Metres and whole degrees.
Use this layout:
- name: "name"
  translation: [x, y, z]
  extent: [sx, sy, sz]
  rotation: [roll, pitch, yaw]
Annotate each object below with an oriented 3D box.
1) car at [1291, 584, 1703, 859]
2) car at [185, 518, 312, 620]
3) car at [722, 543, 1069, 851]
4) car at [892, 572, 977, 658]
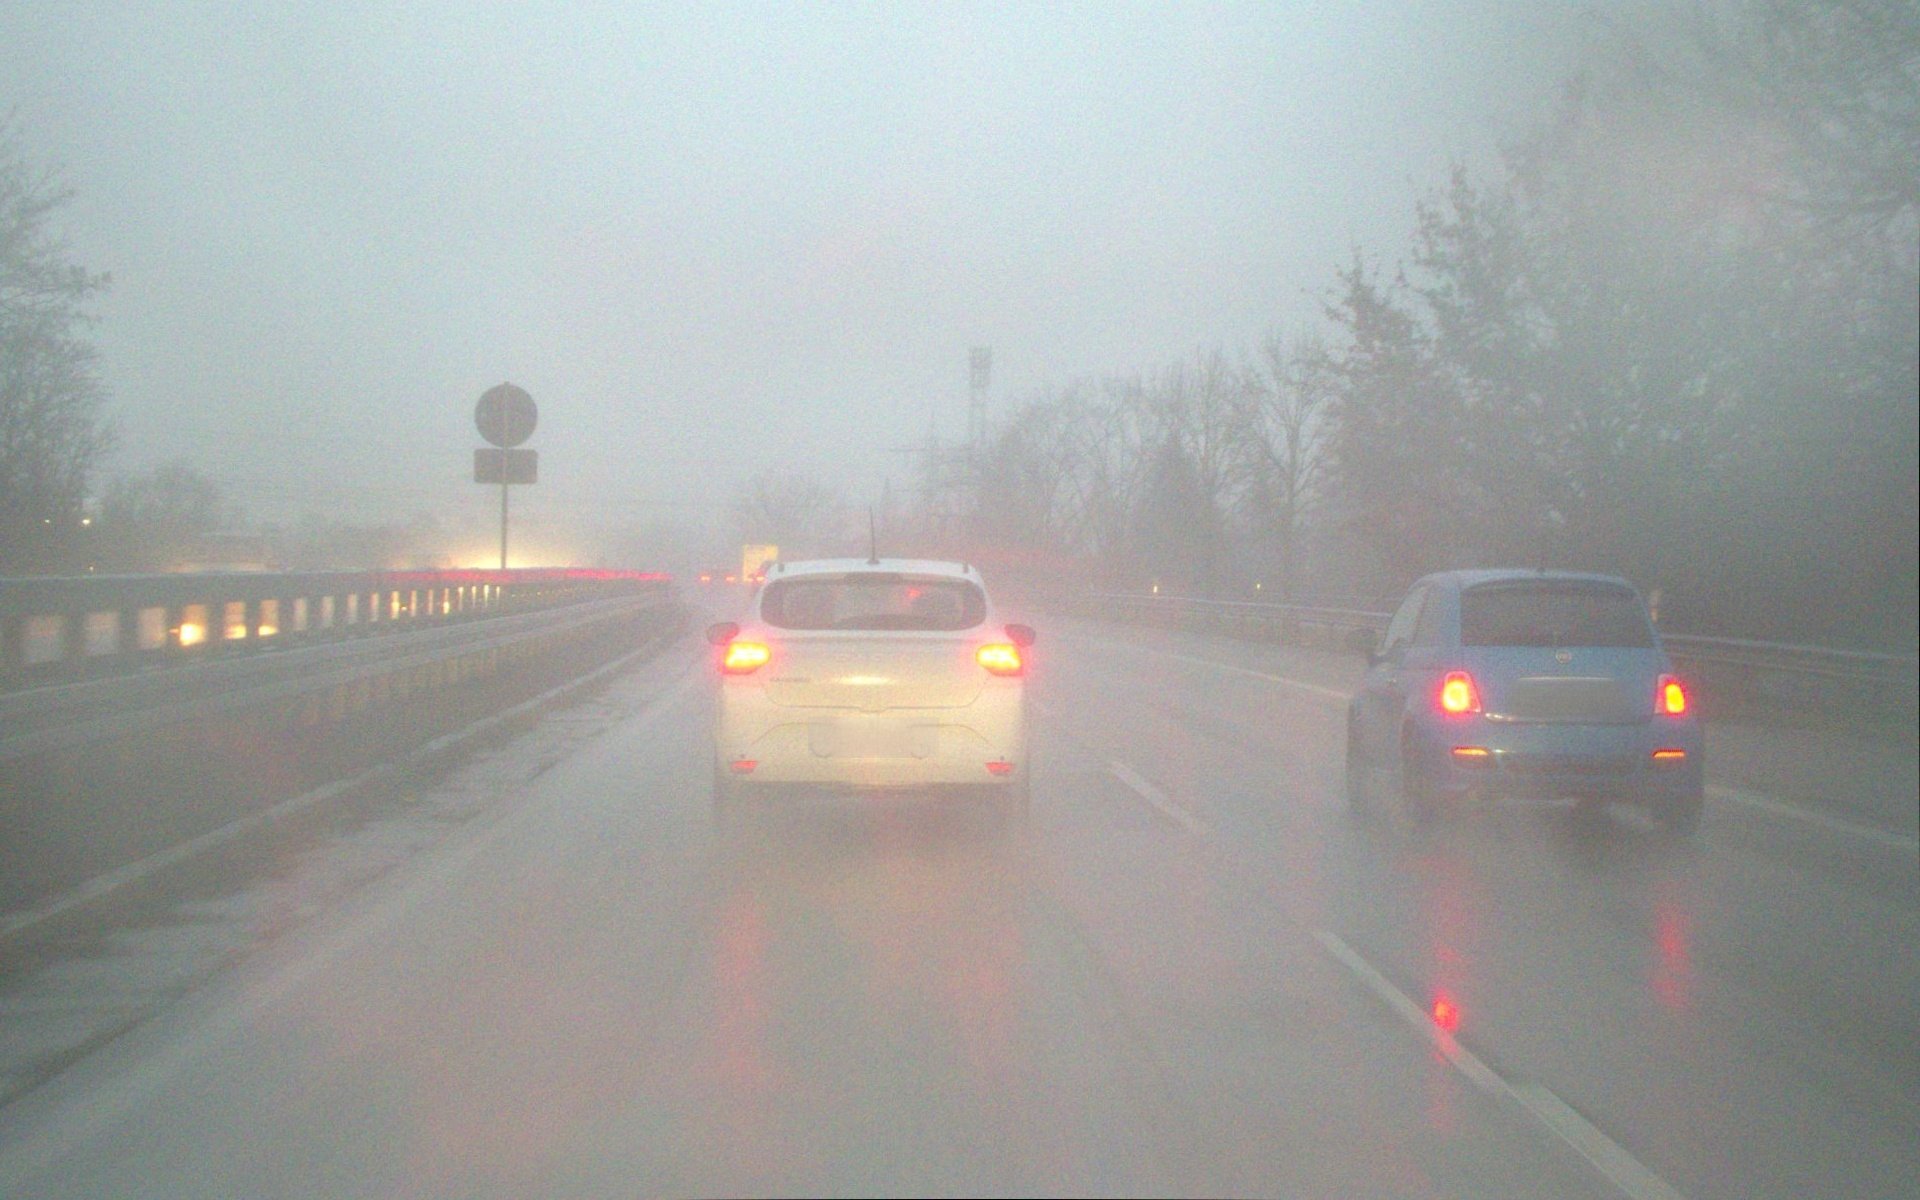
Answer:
- name: "car"
  translation: [3.171, 0.662, 21.101]
  extent: [1.845, 1.448, 4.149]
  rotation: [1, 1, 0]
- name: "car"
  translation: [-14.576, -0.616, 70.674]
  extent: [1.934, 1.966, 4.537]
  rotation: [2, 0, -4]
- name: "car"
  translation: [-0.353, 0.492, 20.432]
  extent: [1.845, 1.630, 3.768]
  rotation: [1, 1, 0]
- name: "car"
  translation: [-0.668, 0.379, 85.932]
  extent: [1.873, 1.897, 4.000]
  rotation: [6, -1, -1]
